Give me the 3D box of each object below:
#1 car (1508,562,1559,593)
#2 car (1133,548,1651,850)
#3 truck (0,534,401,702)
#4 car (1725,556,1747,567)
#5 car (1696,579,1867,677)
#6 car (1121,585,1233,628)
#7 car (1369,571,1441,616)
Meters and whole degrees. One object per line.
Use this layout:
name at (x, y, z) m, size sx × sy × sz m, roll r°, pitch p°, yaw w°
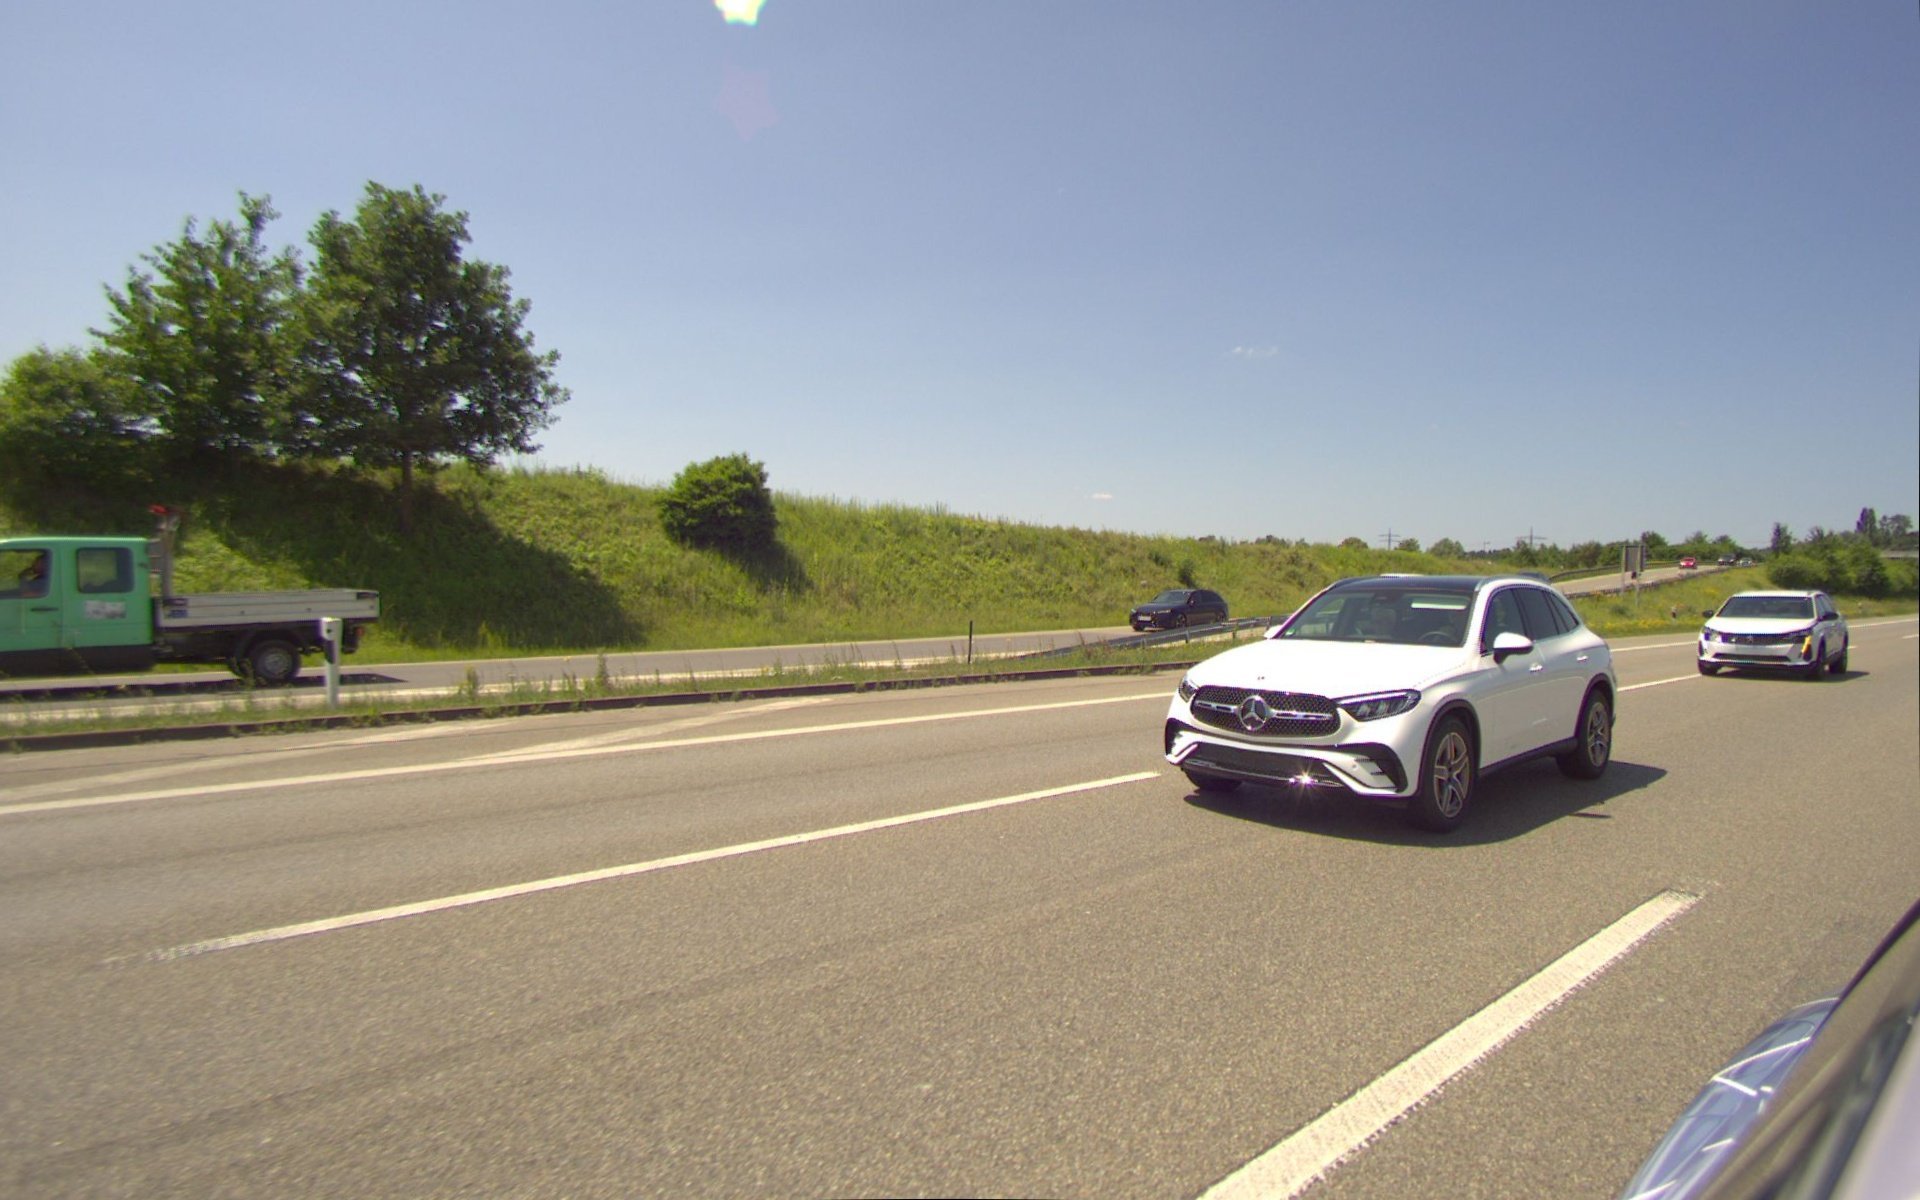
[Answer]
car at (39.097, -1.535, 68.992) m, size 3.935 × 2.039 × 1.994 m, roll -2°, pitch 1°, yaw -45°
car at (3.549, 0.520, 7.849) m, size 4.556 × 1.676 × 1.908 m, roll -1°, pitch 0°, yaw -41°
truck at (-11.722, 0.183, 14.653) m, size 6.018 × 2.118 × 2.166 m, roll -1°, pitch 2°, yaw -44°
car at (124.678, -6.152, 162.571) m, size 4.540 × 1.650 × 1.980 m, roll -2°, pitch 1°, yaw -43°
car at (16.033, 0.459, 19.671) m, size 4.538 × 1.650 × 1.896 m, roll -2°, pitch 1°, yaw -42°
car at (7.610, 0.196, 35.221) m, size 1.993 × 1.400 × 4.231 m, roll 1°, pitch 1°, yaw 42°
car at (22.856, -0.348, 51.860) m, size 1.992 × 2.199 × 4.820 m, roll 1°, pitch 1°, yaw 42°
